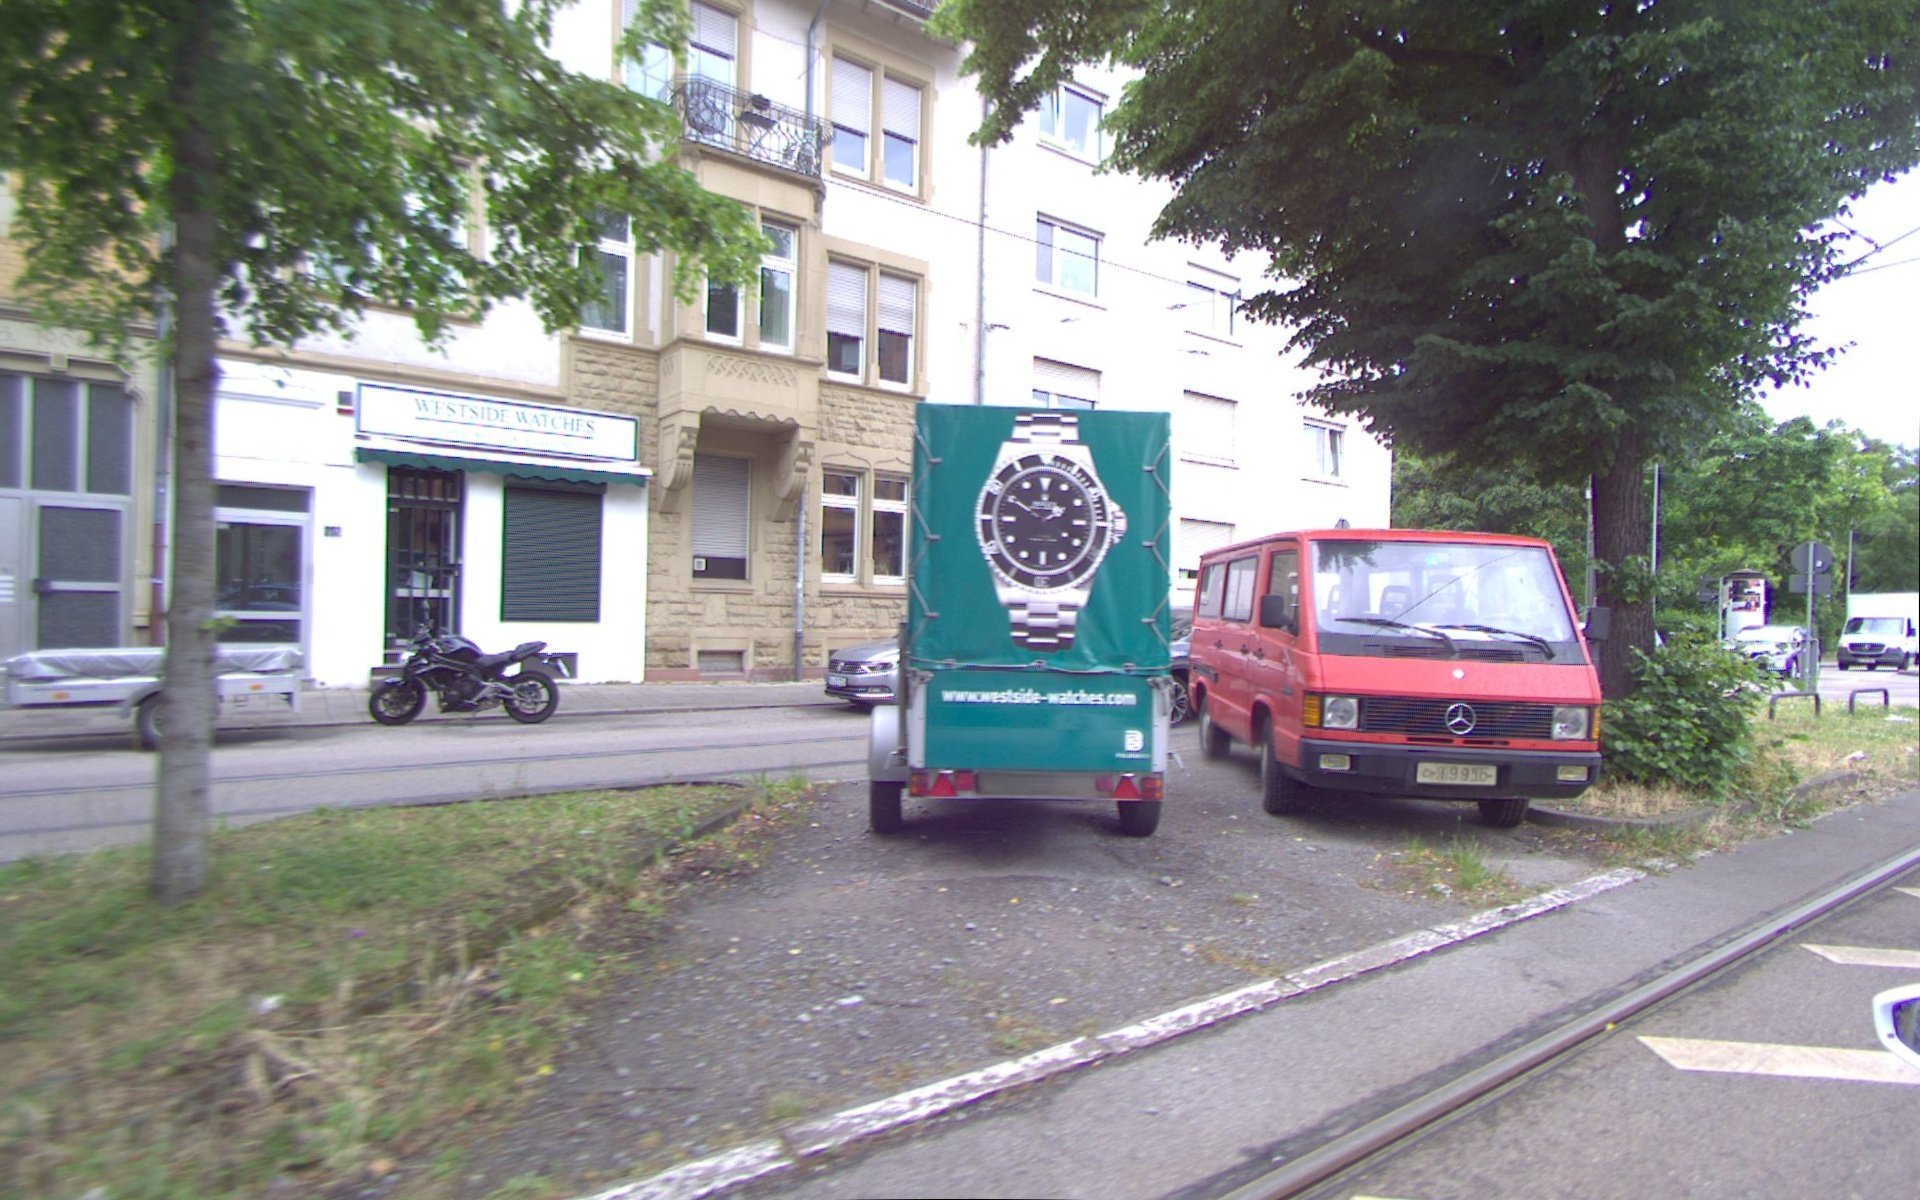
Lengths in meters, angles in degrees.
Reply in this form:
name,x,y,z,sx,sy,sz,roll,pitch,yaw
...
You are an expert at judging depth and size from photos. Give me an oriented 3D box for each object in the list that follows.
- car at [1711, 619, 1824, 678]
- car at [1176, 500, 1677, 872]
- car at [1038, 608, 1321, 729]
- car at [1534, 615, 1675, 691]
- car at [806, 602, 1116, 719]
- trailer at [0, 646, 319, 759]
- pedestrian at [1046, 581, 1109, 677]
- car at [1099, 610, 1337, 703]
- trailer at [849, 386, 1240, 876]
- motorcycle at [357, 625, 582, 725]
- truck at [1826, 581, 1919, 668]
name,x,y,z,sx,sy,sz,roll,pitch,yaw
car,23.734,1.403,29.467,4.094,1.555,1.632,2,0,-37
car,3.067,0.483,7.908,1.920,2.000,4.770,1,0,3
car,3.069,0.877,13.725,3.847,1.401,1.632,2,0,-37
car,14.784,1.181,22.994,3.598,1.555,1.631,2,0,-38
car,0.125,0.820,14.821,4.528,1.462,1.622,2,0,-37
trailer,-7.864,0.905,9.402,3.048,0.904,1.444,2,-2,-37
pedestrian,2.260,0.545,19.332,0.892,1.790,0.792,1,0,-36
car,4.804,0.976,18.326,4.719,1.462,1.622,2,0,-37
trailer,0.355,0.175,6.783,1.893,2.375,3.670,1,0,-2
motorcycle,-5.511,0.843,11.447,2.195,1.052,0.708,2,0,-19
truck,36.779,1.004,39.985,7.269,3.199,2.167,2,0,-39
